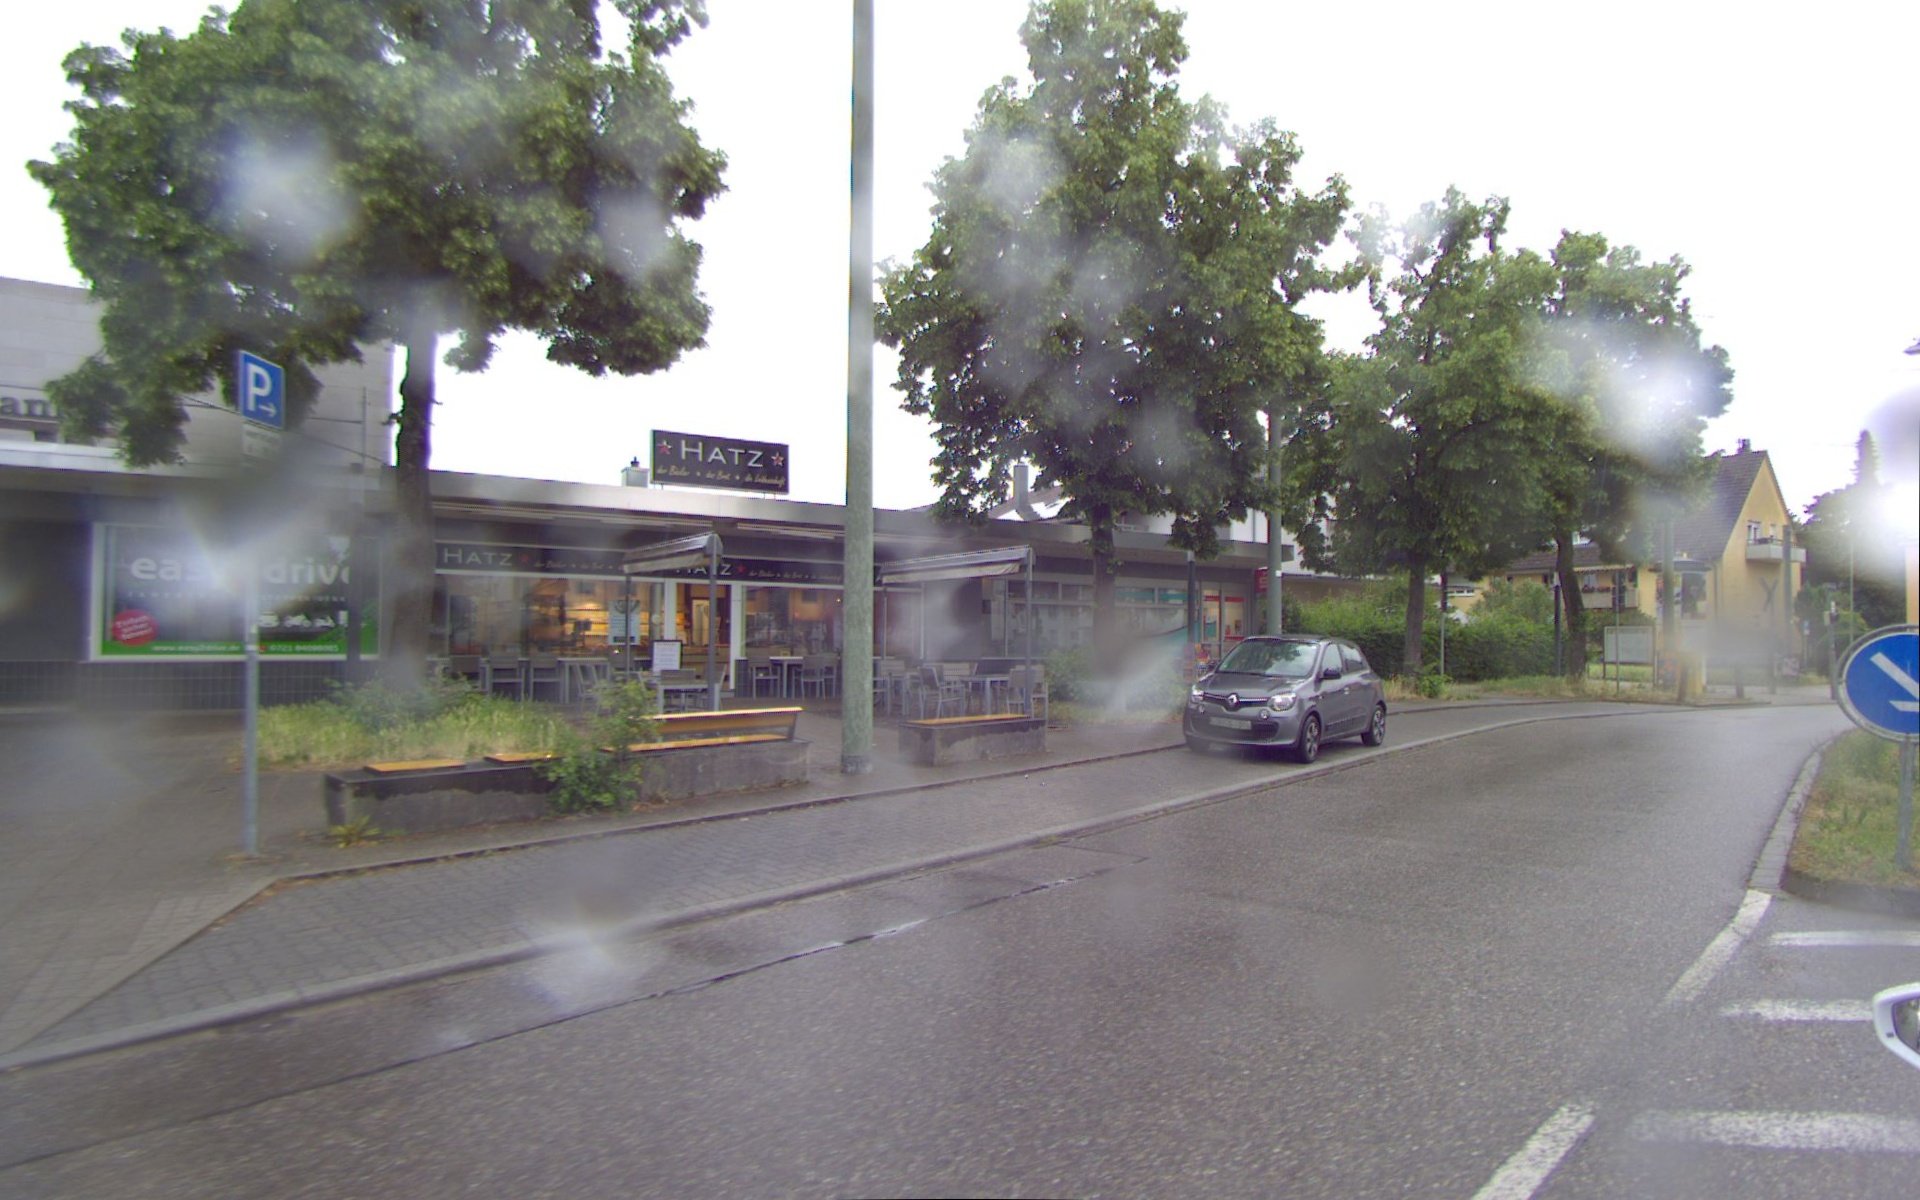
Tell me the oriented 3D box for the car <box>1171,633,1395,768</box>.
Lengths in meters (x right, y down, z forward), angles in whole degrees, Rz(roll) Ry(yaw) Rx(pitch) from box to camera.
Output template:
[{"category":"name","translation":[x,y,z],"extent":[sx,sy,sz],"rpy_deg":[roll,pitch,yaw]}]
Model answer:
[{"category":"car","translation":[4.494,1.245,13.674],"extent":[1.598,1.516,3.649],"rpy_deg":[2,-1,41]}]
